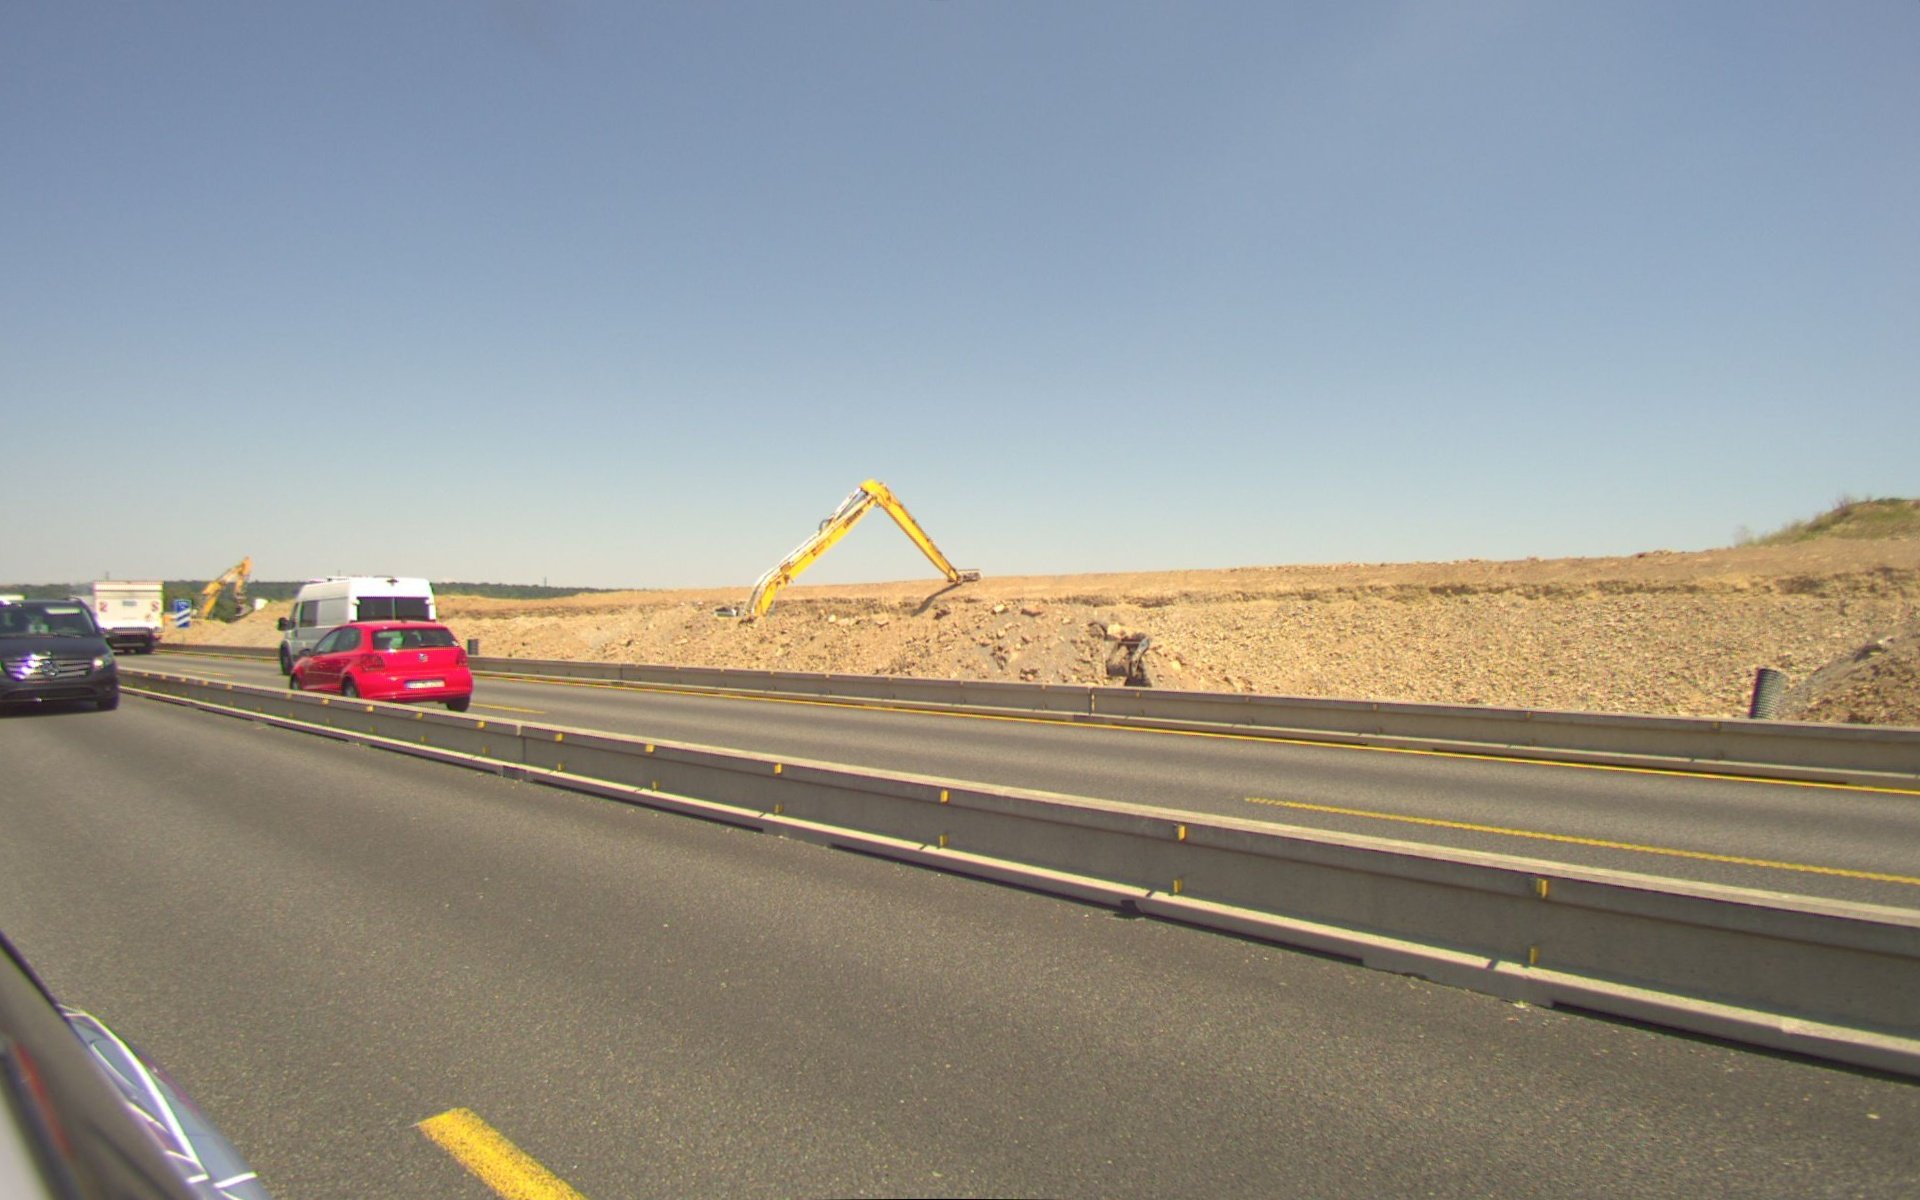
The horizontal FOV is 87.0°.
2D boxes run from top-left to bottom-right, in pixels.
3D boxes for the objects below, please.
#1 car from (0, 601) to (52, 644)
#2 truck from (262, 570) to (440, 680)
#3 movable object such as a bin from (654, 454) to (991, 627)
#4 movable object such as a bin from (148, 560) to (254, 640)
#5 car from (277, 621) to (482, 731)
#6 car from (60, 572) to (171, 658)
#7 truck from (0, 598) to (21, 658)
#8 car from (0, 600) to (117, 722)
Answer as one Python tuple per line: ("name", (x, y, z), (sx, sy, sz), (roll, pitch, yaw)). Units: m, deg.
("car", (-67.692, 1.601, 73.282), (5.846, 2.978, 2.228), (-1, 0, 42))
("truck", (-16.169, 0.707, 26.673), (6.350, 2.589, 2.077), (-3, -1, 41))
("movable object such as a bin", (-5.542, -2.401, 47.876), (3.387, 6.824, 18.031), (-1, 0, 41))
("movable object such as a bin", (-70.842, 0.012, 94.555), (4.080, 7.167, 7.283), (-1, 0, 41))
("car", (-9.291, 1.098, 16.071), (4.052, 1.495, 1.610), (-1, 0, 42))
("car", (-40.465, 0.771, 48.383), (8.087, 3.769, 2.878), (-2, -1, 42))
("truck", (-54.200, 1.549, 56.233), (7.311, 3.173, 2.247), (-1, 0, 42))
("car", (-16.419, 0.999, 17.642), (5.476, 1.865, 1.854), (-2, -1, 42))
